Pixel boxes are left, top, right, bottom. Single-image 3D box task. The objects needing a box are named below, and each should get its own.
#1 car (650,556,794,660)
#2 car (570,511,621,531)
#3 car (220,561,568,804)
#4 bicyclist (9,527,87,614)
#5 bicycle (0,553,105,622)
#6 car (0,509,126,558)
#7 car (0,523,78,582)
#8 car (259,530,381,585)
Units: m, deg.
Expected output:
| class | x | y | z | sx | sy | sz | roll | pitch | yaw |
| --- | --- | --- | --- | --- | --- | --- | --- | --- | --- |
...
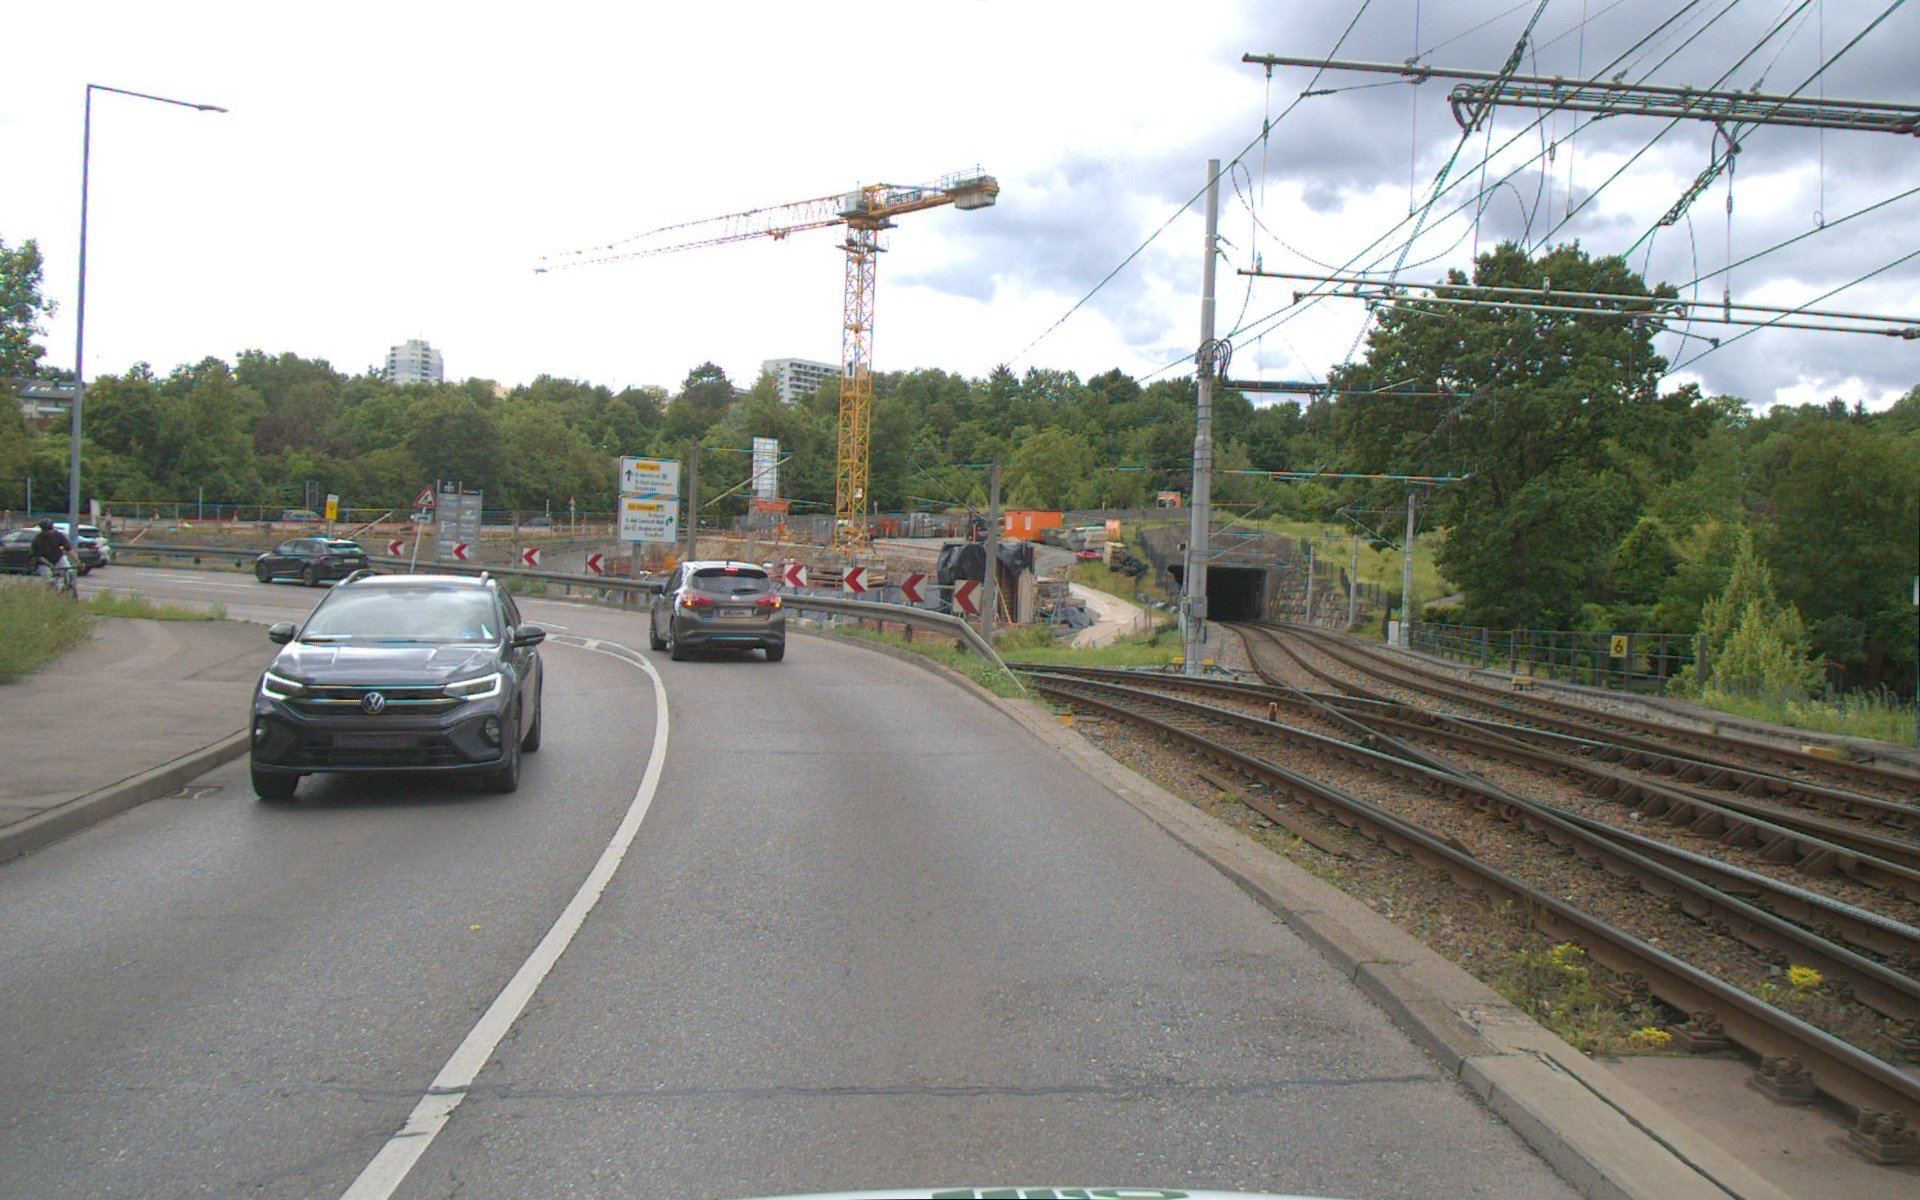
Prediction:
| class | x | y | z | sx | sy | sz | roll | pitch | yaw |
| --- | --- | --- | --- | --- | --- | --- | --- | --- | --- |
| car | -3.957 | 0.082 | 27.021 | 1.800 | 1.536 | 3.983 | 1 | 1 | -16 |
| car | -30.719 | -6.647 | 139.343 | 3.910 | 1.434 | 1.798 | 4 | 1 | 26 |
| car | -4.078 | 0.488 | 12.567 | 1.796 | 1.536 | 3.993 | 1 | 1 | -9 |
| bicyclist | -16.030 | -0.528 | 29.084 | 0.706 | 1.455 | 0.971 | 3 | 5 | 37 |
| bicycle | -16.262 | -0.252 | 29.284 | 2.590 | 1.047 | 0.983 | 4 | 5 | 37 |
| car | -32.045 | -2.375 | 58.906 | 4.205 | 1.634 | 1.686 | 2 | 2 | 18 |
| car | -30.451 | -1.560 | 52.833 | 3.904 | 1.579 | 1.802 | 4 | 6 | 17 |
| car | -20.285 | -1.345 | 52.330 | 4.226 | 1.634 | 1.678 | 3 | 2 | 38 |
